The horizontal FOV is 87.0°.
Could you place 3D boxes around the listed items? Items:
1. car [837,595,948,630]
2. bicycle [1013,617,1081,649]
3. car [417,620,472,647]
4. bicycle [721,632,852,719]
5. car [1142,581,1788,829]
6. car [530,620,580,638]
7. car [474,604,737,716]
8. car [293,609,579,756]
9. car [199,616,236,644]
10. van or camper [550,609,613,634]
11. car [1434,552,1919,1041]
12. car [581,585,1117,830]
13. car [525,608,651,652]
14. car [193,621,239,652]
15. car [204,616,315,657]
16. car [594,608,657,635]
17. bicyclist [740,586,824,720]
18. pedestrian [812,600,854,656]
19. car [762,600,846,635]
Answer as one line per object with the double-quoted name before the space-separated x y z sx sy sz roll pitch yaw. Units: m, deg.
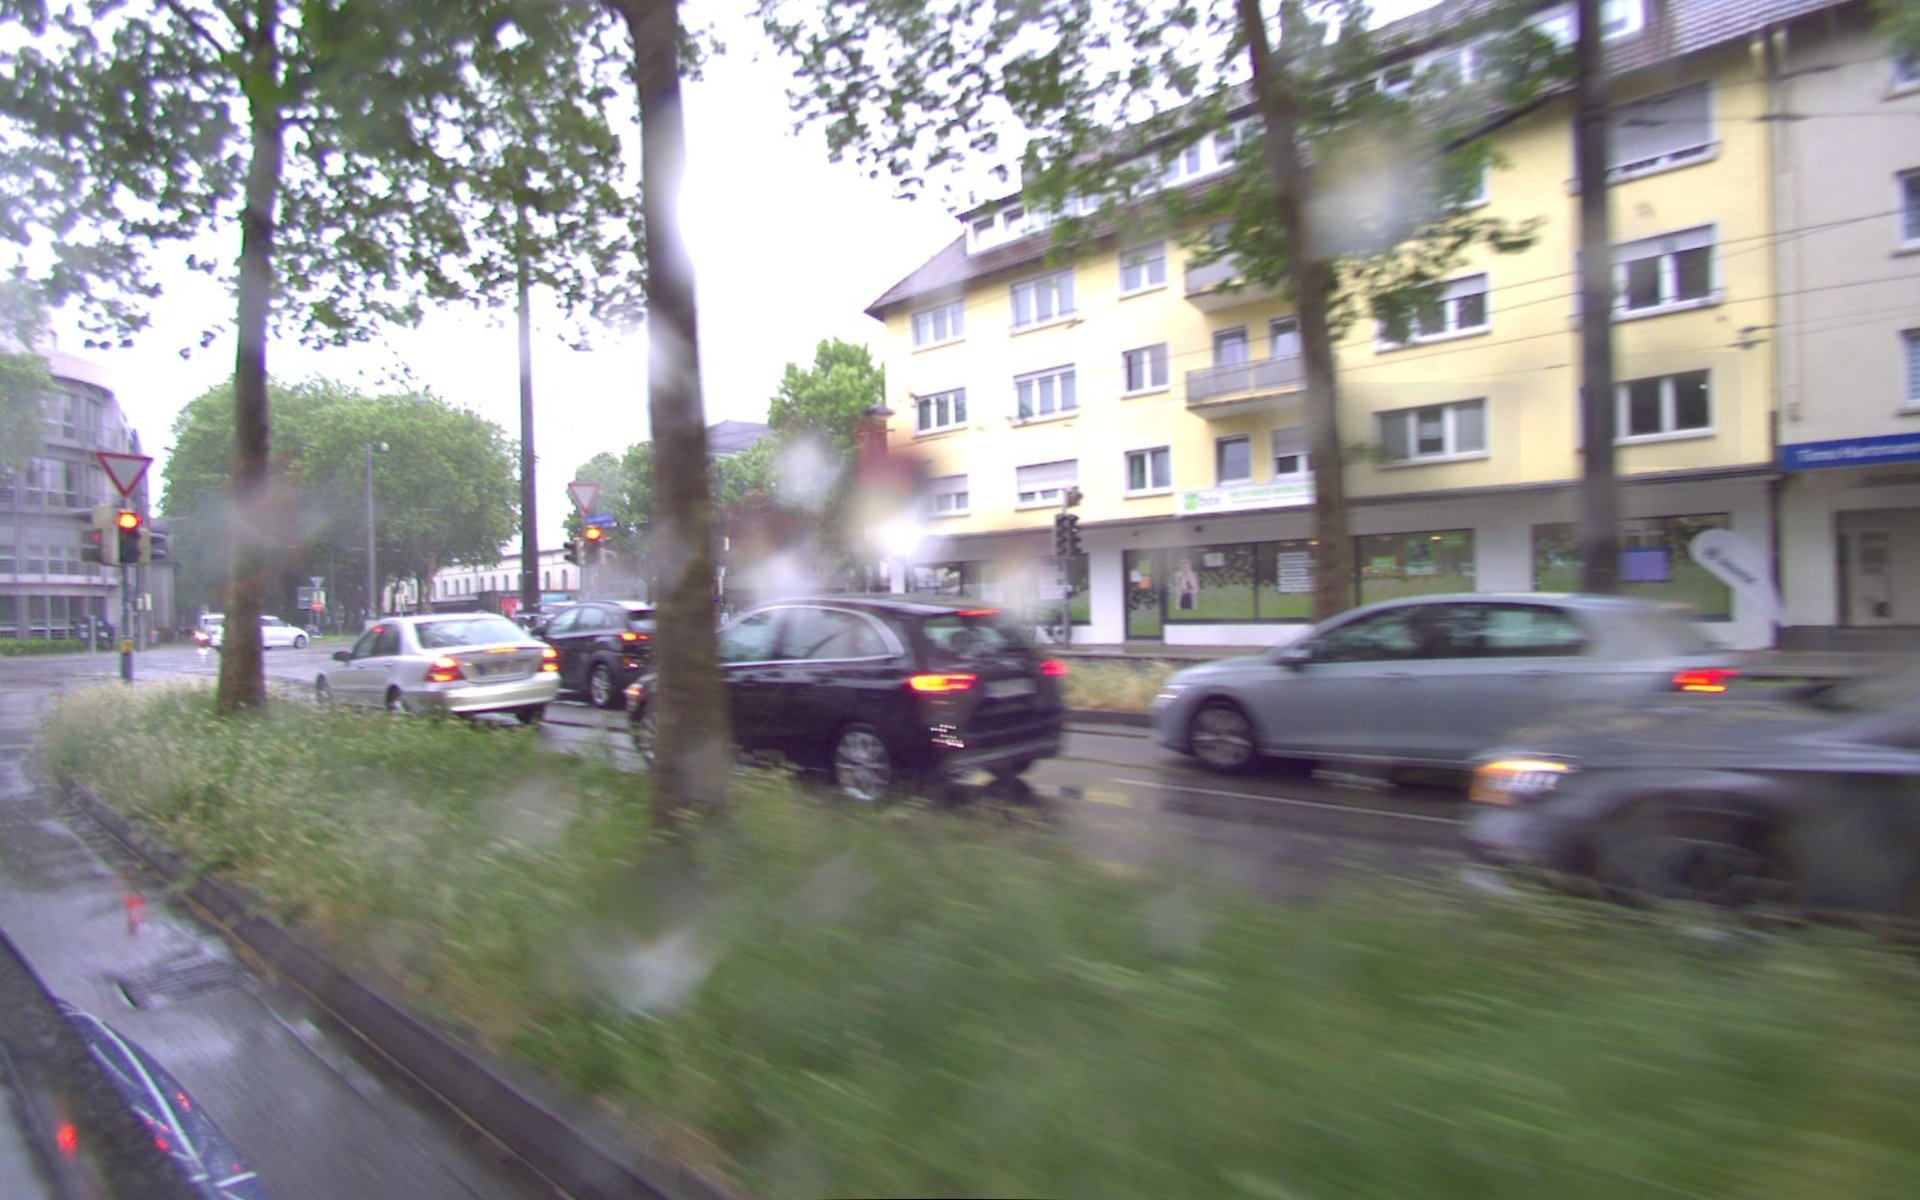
"car" -3.234 0.614 48.802 4.952 1.485 1.987 -2 -1 20
"bicycle" 2.519 0.952 29.560 2.046 0.903 0.605 -2 -1 43
"car" -31.501 2.014 61.917 1.783 1.548 4.199 -1 0 -9
"bicycle" -2.342 0.979 13.565 1.814 1.039 0.710 0 0 39
"car" 3.661 0.641 7.816 4.129 1.408 1.723 -2 0 42
"car" -37.579 2.712 93.960 3.935 1.626 2.004 2 -2 -37
"car" -5.660 0.881 15.943 4.277 1.513 1.856 -2 -1 37
"car" -6.731 0.929 12.768 4.499 1.500 1.716 -2 0 42
"car" -50.666 2.033 69.127 1.972 1.785 4.010 0 -1 -36
"van or camper" -31.999 1.795 85.528 4.580 2.091 2.004 1 -1 -39
"car" 4.113 0.561 3.166 4.431 1.491 1.723 -2 0 42
"car" -1.162 0.715 8.504 4.639 1.496 1.837 -2 0 42
"car" -15.355 1.195 41.952 1.911 1.659 4.623 0 0 36
"car" -46.809 2.261 63.704 1.773 1.785 4.012 -3 1 -29
"car" -30.341 1.537 43.966 1.784 1.599 4.068 -1 0 5
"car" -26.300 1.662 79.664 4.323 2.029 2.073 -1 0 -32
"bicyclist" -2.394 0.680 13.607 0.889 1.729 0.705 0 0 39
"pedestrian" -3.919 0.843 31.181 1.000 1.690 0.816 -1 -1 -36
"car" -8.146 0.889 52.959 1.807 1.722 4.132 0 0 43
